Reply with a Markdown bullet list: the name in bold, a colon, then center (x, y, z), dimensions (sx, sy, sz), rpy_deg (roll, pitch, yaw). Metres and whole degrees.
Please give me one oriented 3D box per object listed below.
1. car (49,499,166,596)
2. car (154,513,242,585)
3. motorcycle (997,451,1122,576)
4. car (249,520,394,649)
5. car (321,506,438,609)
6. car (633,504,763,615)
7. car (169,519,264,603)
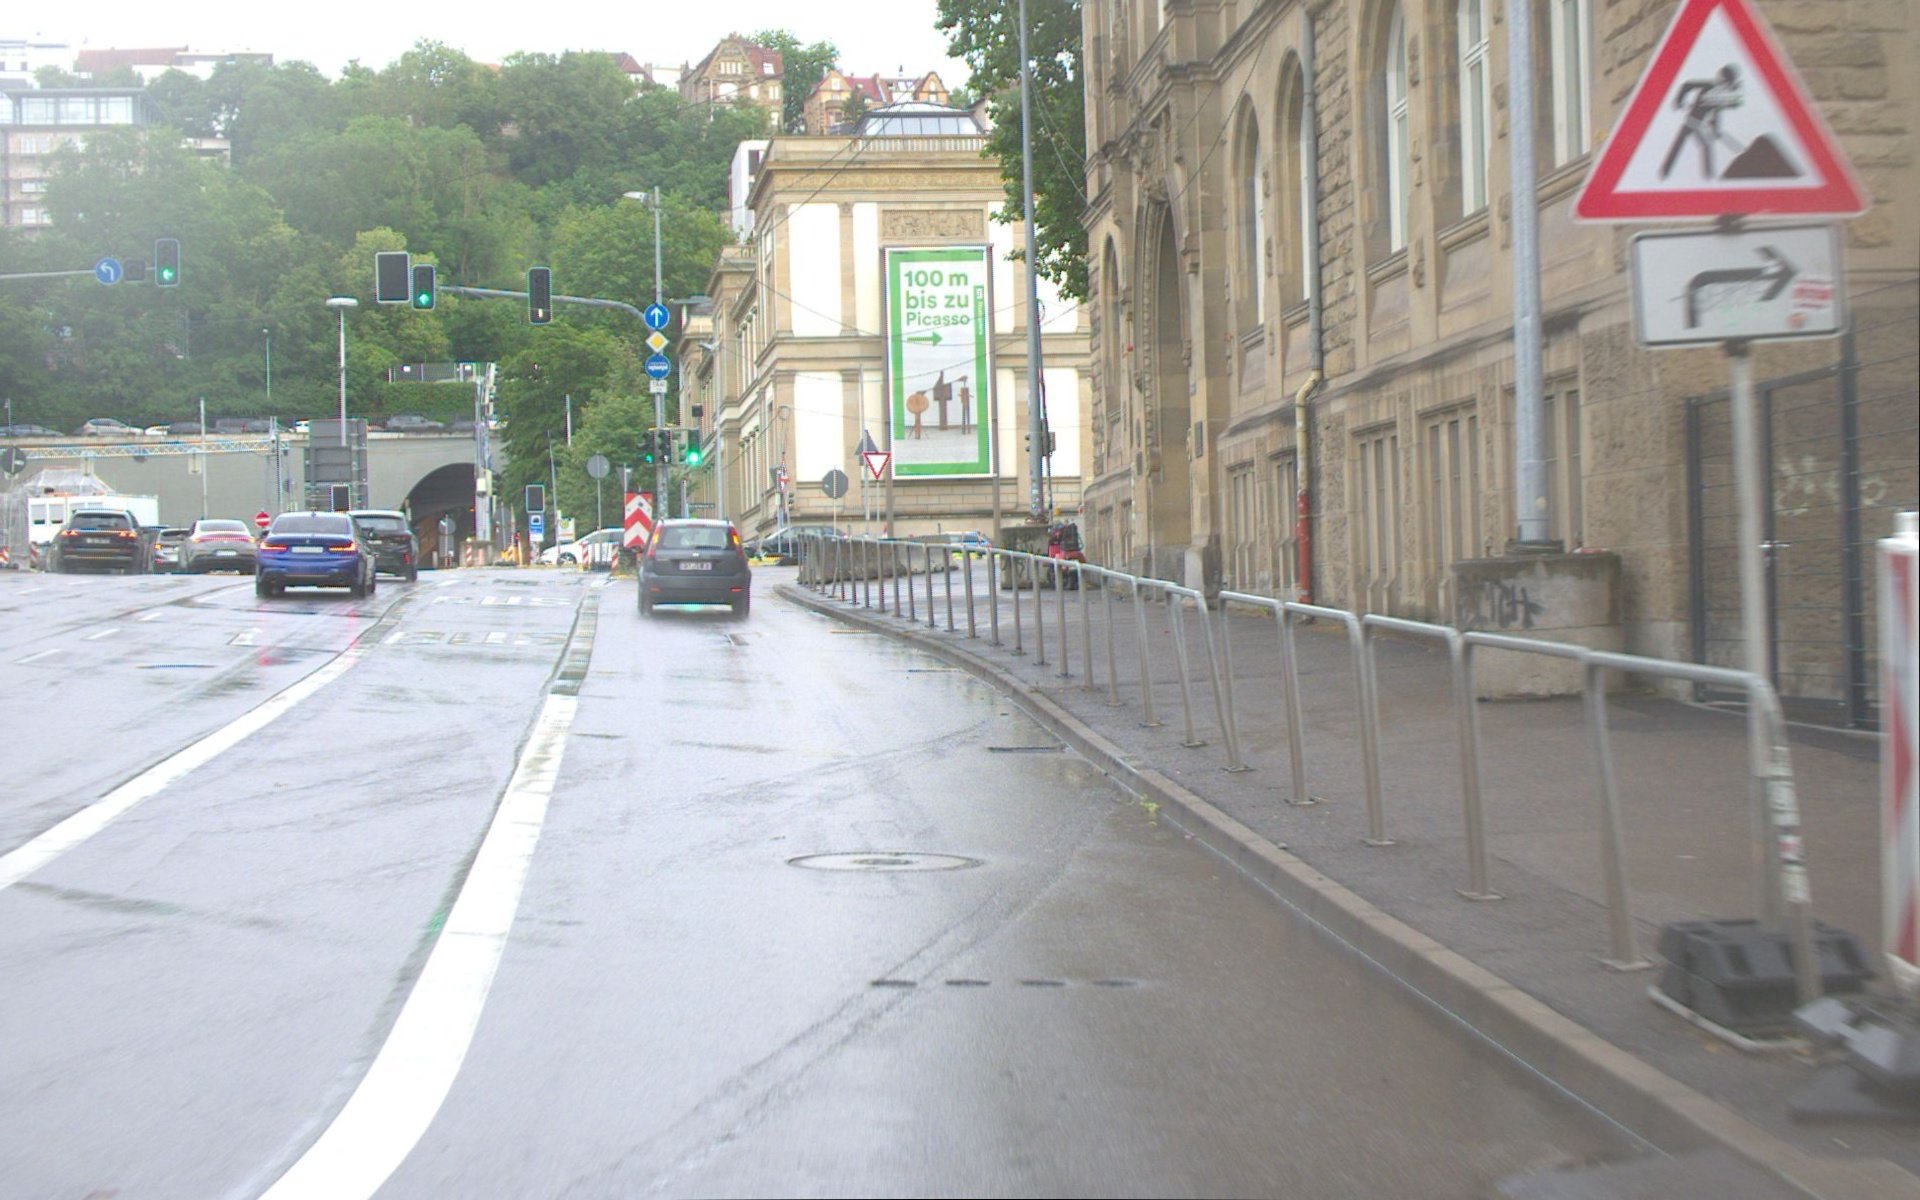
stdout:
- **car**: center (-19.227, -1.171, 77.684), dimensions (2.016, 2.007, 4.000), rpy_deg (-2, -1, -7)
- **car**: center (-22.943, -1.510, 103.597), dimensions (1.993, 2.007, 4.000), rpy_deg (-2, -1, -4)
- **motorcycle**: center (1.648, -1.467, 58.131), dimensions (1.795, 2.006, 3.813), rpy_deg (-1, 2, -3)
- **car**: center (-10.797, -0.227, 58.361), dimensions (2.104, 2.043, 4.000), rpy_deg (-2, -1, -7)
- **car**: center (-12.153, -0.855, 72.225), dimensions (1.776, 2.007, 4.000), rpy_deg (-2, -1, -1)
- **car**: center (-4.016, -0.583, 52.265), dimensions (1.812, 1.522, 4.000), rpy_deg (-2, 0, -6)
- **car**: center (-19.283, -0.980, 89.275), dimensions (2.051, 2.007, 4.001), rpy_deg (-2, -1, -8)
